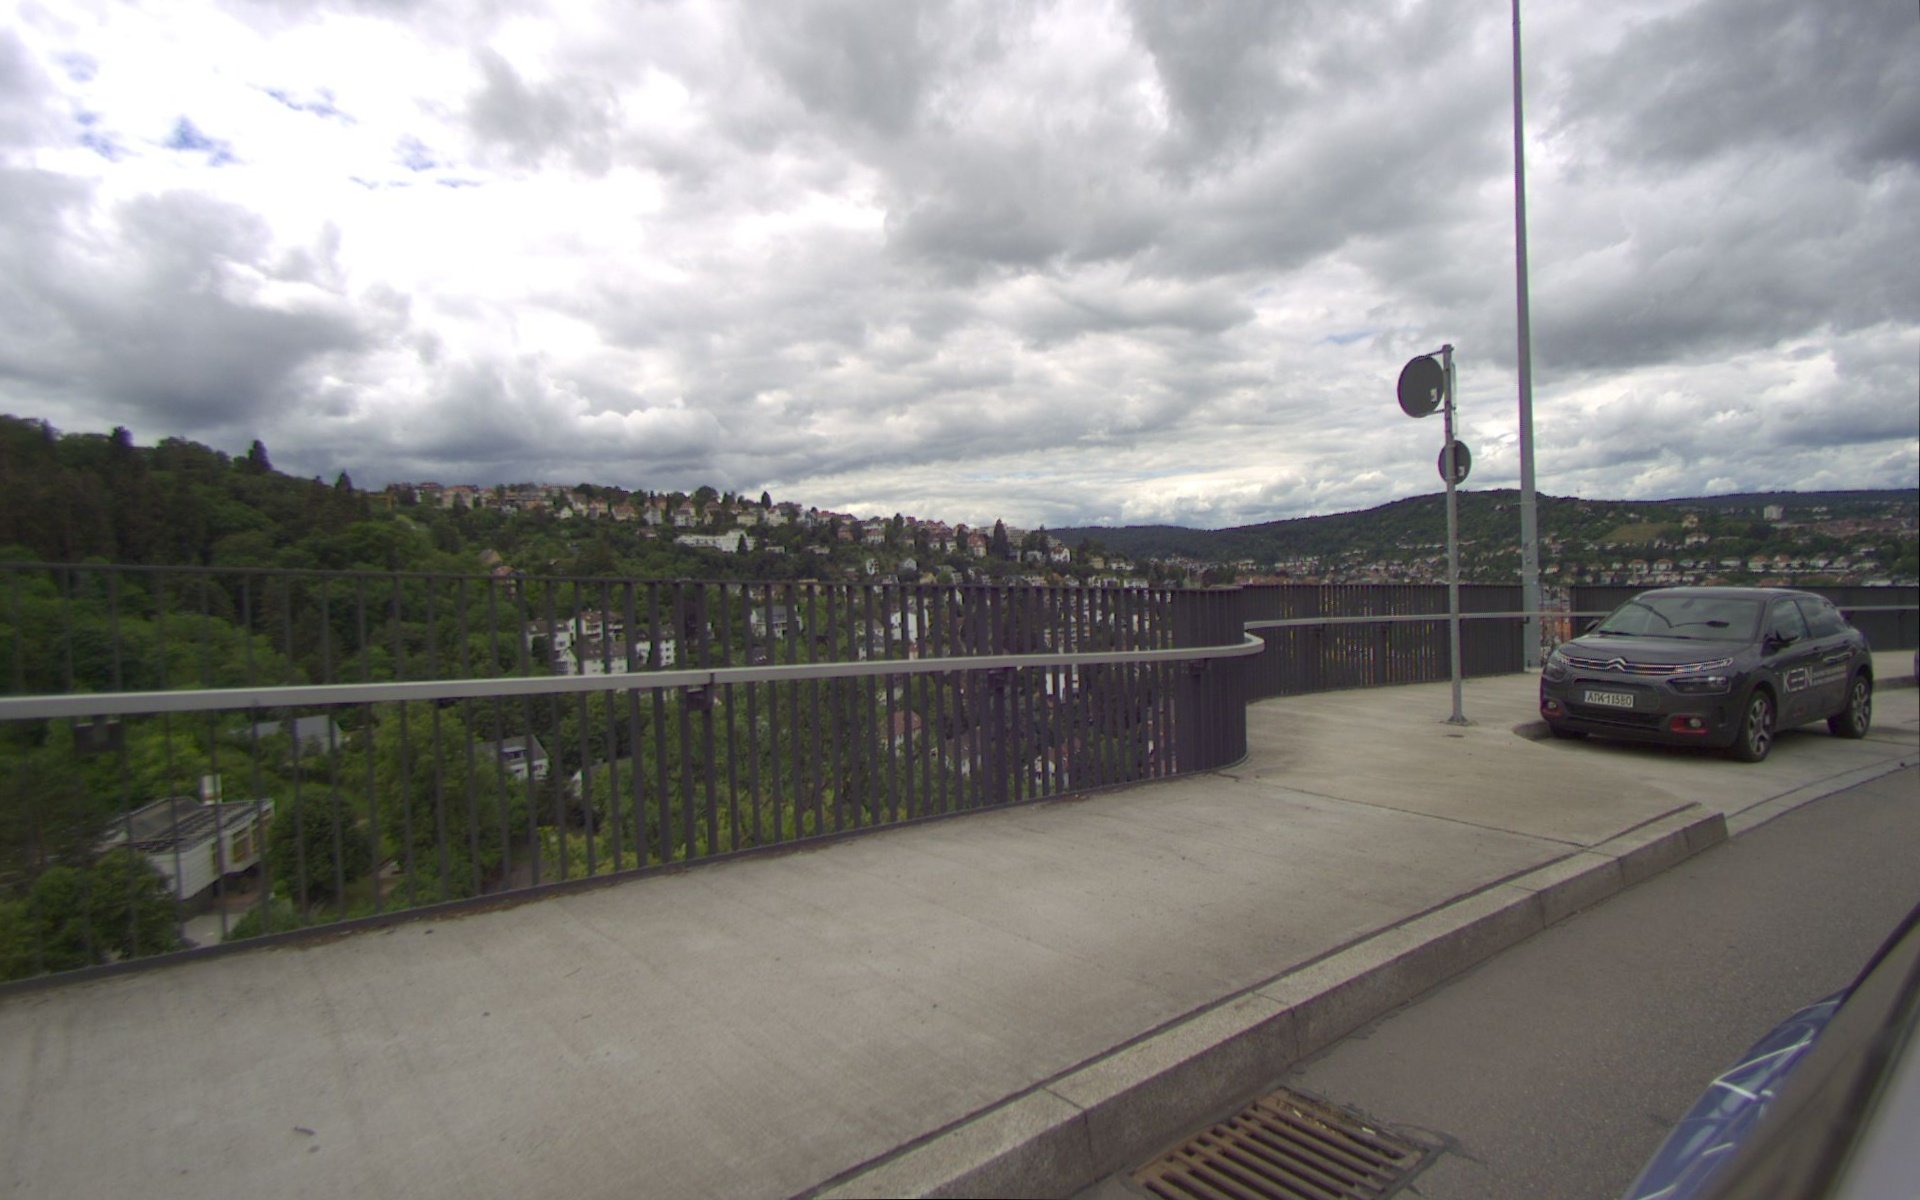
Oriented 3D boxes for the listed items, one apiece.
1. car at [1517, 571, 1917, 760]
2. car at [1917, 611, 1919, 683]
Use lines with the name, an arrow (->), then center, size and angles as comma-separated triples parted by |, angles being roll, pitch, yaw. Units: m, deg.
car -> 7.676, 0.500, 10.198 | 4.009, 1.562, 1.882 | -1, 1, -32
car -> 15.604, 0.466, 14.456 | 3.772, 1.449, 1.722 | 0, 2, -29
